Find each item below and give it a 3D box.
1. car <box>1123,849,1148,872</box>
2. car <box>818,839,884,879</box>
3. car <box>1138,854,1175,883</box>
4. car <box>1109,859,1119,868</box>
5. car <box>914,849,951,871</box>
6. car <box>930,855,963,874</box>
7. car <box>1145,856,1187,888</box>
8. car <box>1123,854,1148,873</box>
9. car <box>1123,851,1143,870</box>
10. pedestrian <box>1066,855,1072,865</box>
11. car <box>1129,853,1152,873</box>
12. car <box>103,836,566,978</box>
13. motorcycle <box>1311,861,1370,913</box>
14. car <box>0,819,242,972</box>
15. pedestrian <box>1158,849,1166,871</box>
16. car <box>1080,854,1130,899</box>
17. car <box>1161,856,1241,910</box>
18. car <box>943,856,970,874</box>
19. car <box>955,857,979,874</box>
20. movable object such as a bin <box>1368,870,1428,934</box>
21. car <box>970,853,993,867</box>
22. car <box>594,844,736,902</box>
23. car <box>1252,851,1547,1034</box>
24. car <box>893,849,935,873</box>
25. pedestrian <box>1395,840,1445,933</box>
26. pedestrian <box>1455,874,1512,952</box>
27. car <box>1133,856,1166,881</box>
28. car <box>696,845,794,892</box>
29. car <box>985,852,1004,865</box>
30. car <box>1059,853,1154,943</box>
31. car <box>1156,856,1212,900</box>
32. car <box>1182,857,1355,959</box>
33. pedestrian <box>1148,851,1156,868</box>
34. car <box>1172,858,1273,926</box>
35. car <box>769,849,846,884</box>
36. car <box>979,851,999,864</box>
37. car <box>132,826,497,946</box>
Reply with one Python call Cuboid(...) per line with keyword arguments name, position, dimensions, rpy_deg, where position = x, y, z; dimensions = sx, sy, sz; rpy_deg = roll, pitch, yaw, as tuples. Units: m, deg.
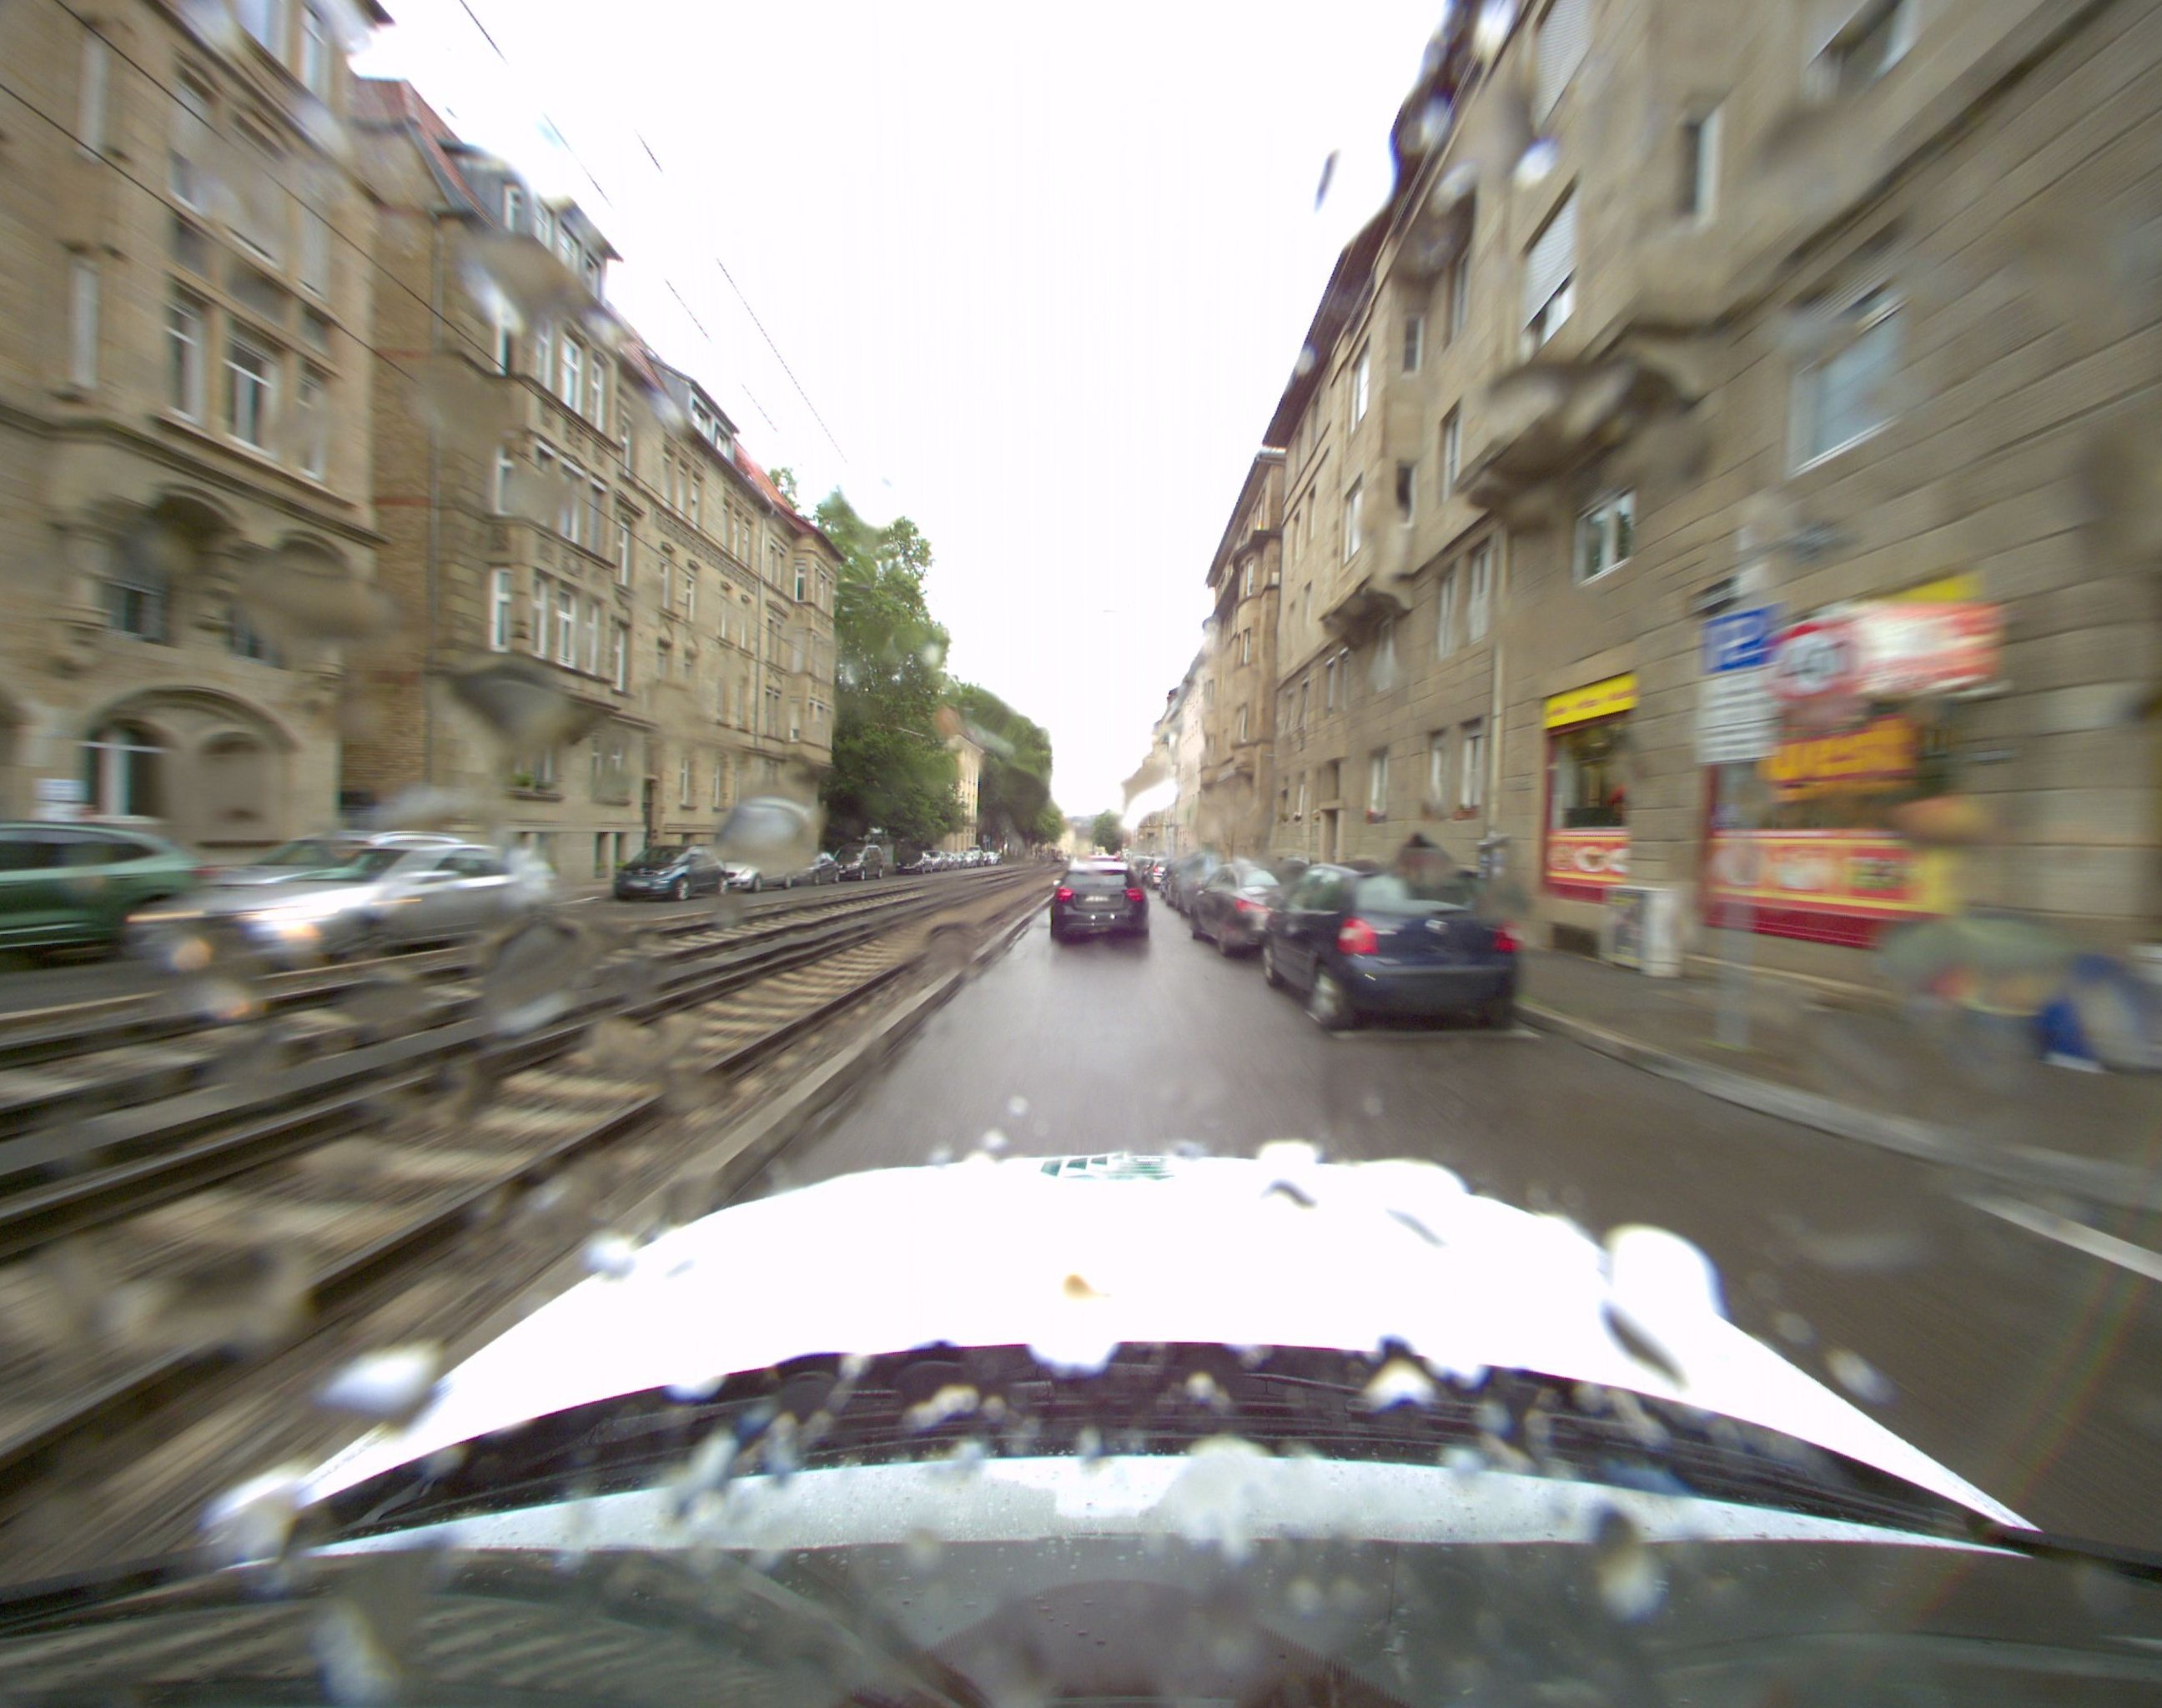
Cuboid(name="car", position=(4.282, 0.530, 64.671), dimensions=(1.784, 1.765, 4.213), rpy_deg=(0, 0, 1))
Cuboid(name="car", position=(-11.391, 0.225, 40.686), dimensions=(1.794, 1.846, 4.820), rpy_deg=(0, 0, 1))
Cuboid(name="car", position=(4.005, 0.746, 43.722), dimensions=(1.662, 1.434, 3.956), rpy_deg=(0, 0, 0))
Cuboid(name="car", position=(5.907, 1.723, 145.989), dimensions=(1.820, 1.618, 3.866), rpy_deg=(0, 0, 2))
Cuboid(name="car", position=(-10.677, 0.421, 58.795), dimensions=(1.748, 1.536, 4.543), rpy_deg=(-1, 0, 1))
Cuboid(name="car", position=(-10.459, 0.793, 63.523), dimensions=(1.748, 1.413, 4.154), rpy_deg=(-1, 0, 1))
Cuboid(name="car", position=(3.948, 0.801, 38.242), dimensions=(1.585, 1.434, 3.683), rpy_deg=(0, 0, -1))
Cuboid(name="car", position=(4.596, 0.786, 69.642), dimensions=(1.865, 1.455, 4.903), rpy_deg=(1, 0, 0))
Cuboid(name="car", position=(5.047, 0.592, 79.595), dimensions=(1.820, 1.750, 4.471), rpy_deg=(1, 0, 3))
Cuboid(name="pedestrian", position=(-1.924, 0.926, 130.225), dimensions=(0.803, 1.633, 0.892), rpy_deg=(0, 0, 2))
Cuboid(name="car", position=(4.366, 0.649, 60.199), dimensions=(1.564, 1.462, 3.601), rpy_deg=(1, 0, 2))
Cuboid(name="car", position=(-9.039, 0.544, 10.532), dimensions=(1.975, 1.457, 4.294), rpy_deg=(0, 0, 0))
Cuboid(name="motorcycle", position=(6.597, 0.808, 20.855), dimensions=(0.702, 1.199, 2.747), rpy_deg=(1, 0, 2))
Cuboid(name="car", position=(-12.194, 0.429, 8.621), dimensions=(1.850, 1.602, 4.433), rpy_deg=(0, 0, 3))
Cuboid(name="pedestrian", position=(6.518, 0.511, 65.731), dimensions=(0.605, 1.763, 0.688), rpy_deg=(-1, 0, 1))
Cuboid(name="car", position=(0.944, 0.817, 31.385), dimensions=(1.778, 1.581, 4.001), rpy_deg=(1, 0, 2))
Cuboid(name="car", position=(3.485, 0.799, 24.347), dimensions=(1.781, 1.462, 4.083), rpy_deg=(1, 0, 0))
Cuboid(name="car", position=(-10.400, 0.907, 68.176), dimensions=(1.534, 1.413, 3.953), rpy_deg=(-1, 0, 1))
Cuboid(name="car", position=(-10.272, 1.030, 73.814), dimensions=(1.534, 1.505, 4.155), rpy_deg=(-1, 0, 1))
Cuboid(name="movable object such as a bin", position=(5.837, 0.867, 15.056), dimensions=(0.662, 1.103, 1.124), rpy_deg=(2, 0, 1))
Cuboid(name="car", position=(-10.227, 0.576, 83.702), dimensions=(1.668, 1.413, 4.013), rpy_deg=(-1, 0, 3))
Cuboid(name="car", position=(-11.851, 0.508, 23.575), dimensions=(1.863, 1.508, 4.170), rpy_deg=(0, 0, 1))
Cuboid(name="car", position=(2.924, 0.702, 8.365), dimensions=(1.664, 1.444, 3.792), rpy_deg=(-1, 0, 2))
Cuboid(name="car", position=(-10.884, 0.451, 53.325), dimensions=(1.843, 1.464, 4.549), rpy_deg=(-1, 0, 0))
Cuboid(name="pedestrian", position=(5.832, 0.545, 14.024), dimensions=(0.559, 1.535, 0.710), rpy_deg=(1, 0, 1))
Cuboid(name="pedestrian", position=(5.734, 0.828, 11.624), dimensions=(0.509, 1.050, 0.627), rpy_deg=(1, 0, 1))
Cuboid(name="car", position=(4.111, 0.829, 49.276), dimensions=(1.664, 1.410, 4.311), rpy_deg=(1, 0, 0))
Cuboid(name="car", position=(-11.597, 0.462, 28.417), dimensions=(1.688, 1.524, 3.857), rpy_deg=(0, 0, 2))
Cuboid(name="car", position=(-9.860, 0.478, 92.967), dimensions=(1.608, 1.429, 3.853), rpy_deg=(1, 0, 1))
Cuboid(name="car", position=(0.472, 0.746, 15.624), dimensions=(1.574, 1.505, 3.575), rpy_deg=(1, 0, 1))
Cuboid(name="car", position=(3.580, 0.799, 28.820), dimensions=(1.538, 1.415, 3.446), rpy_deg=(1, 0, 0))
Cuboid(name="car", position=(2.921, 0.766, 13.688), dimensions=(1.750, 1.387, 4.482), rpy_deg=(-1, 0, -2))
Cuboid(name="pedestrian", position=(7.551, 0.583, 86.192), dimensions=(0.743, 1.833, 1.039), rpy_deg=(-1, 0, 3))
Cuboid(name="car", position=(3.247, 0.821, 19.405), dimensions=(1.701, 1.398, 4.018), rpy_deg=(1, 0, 0))
Cuboid(name="car", position=(-11.474, 0.493, 34.475), dimensions=(1.756, 1.398, 4.270), rpy_deg=(0, 0, 0))
Cuboid(name="car", position=(-10.015, 0.394, 88.661), dimensions=(1.494, 1.391, 3.990), rpy_deg=(-1, 0, 3))
Cuboid(name="car", position=(-12.091, 0.441, 13.365), dimensions=(1.852, 1.652, 4.315), rpy_deg=(0, 0, 0))
